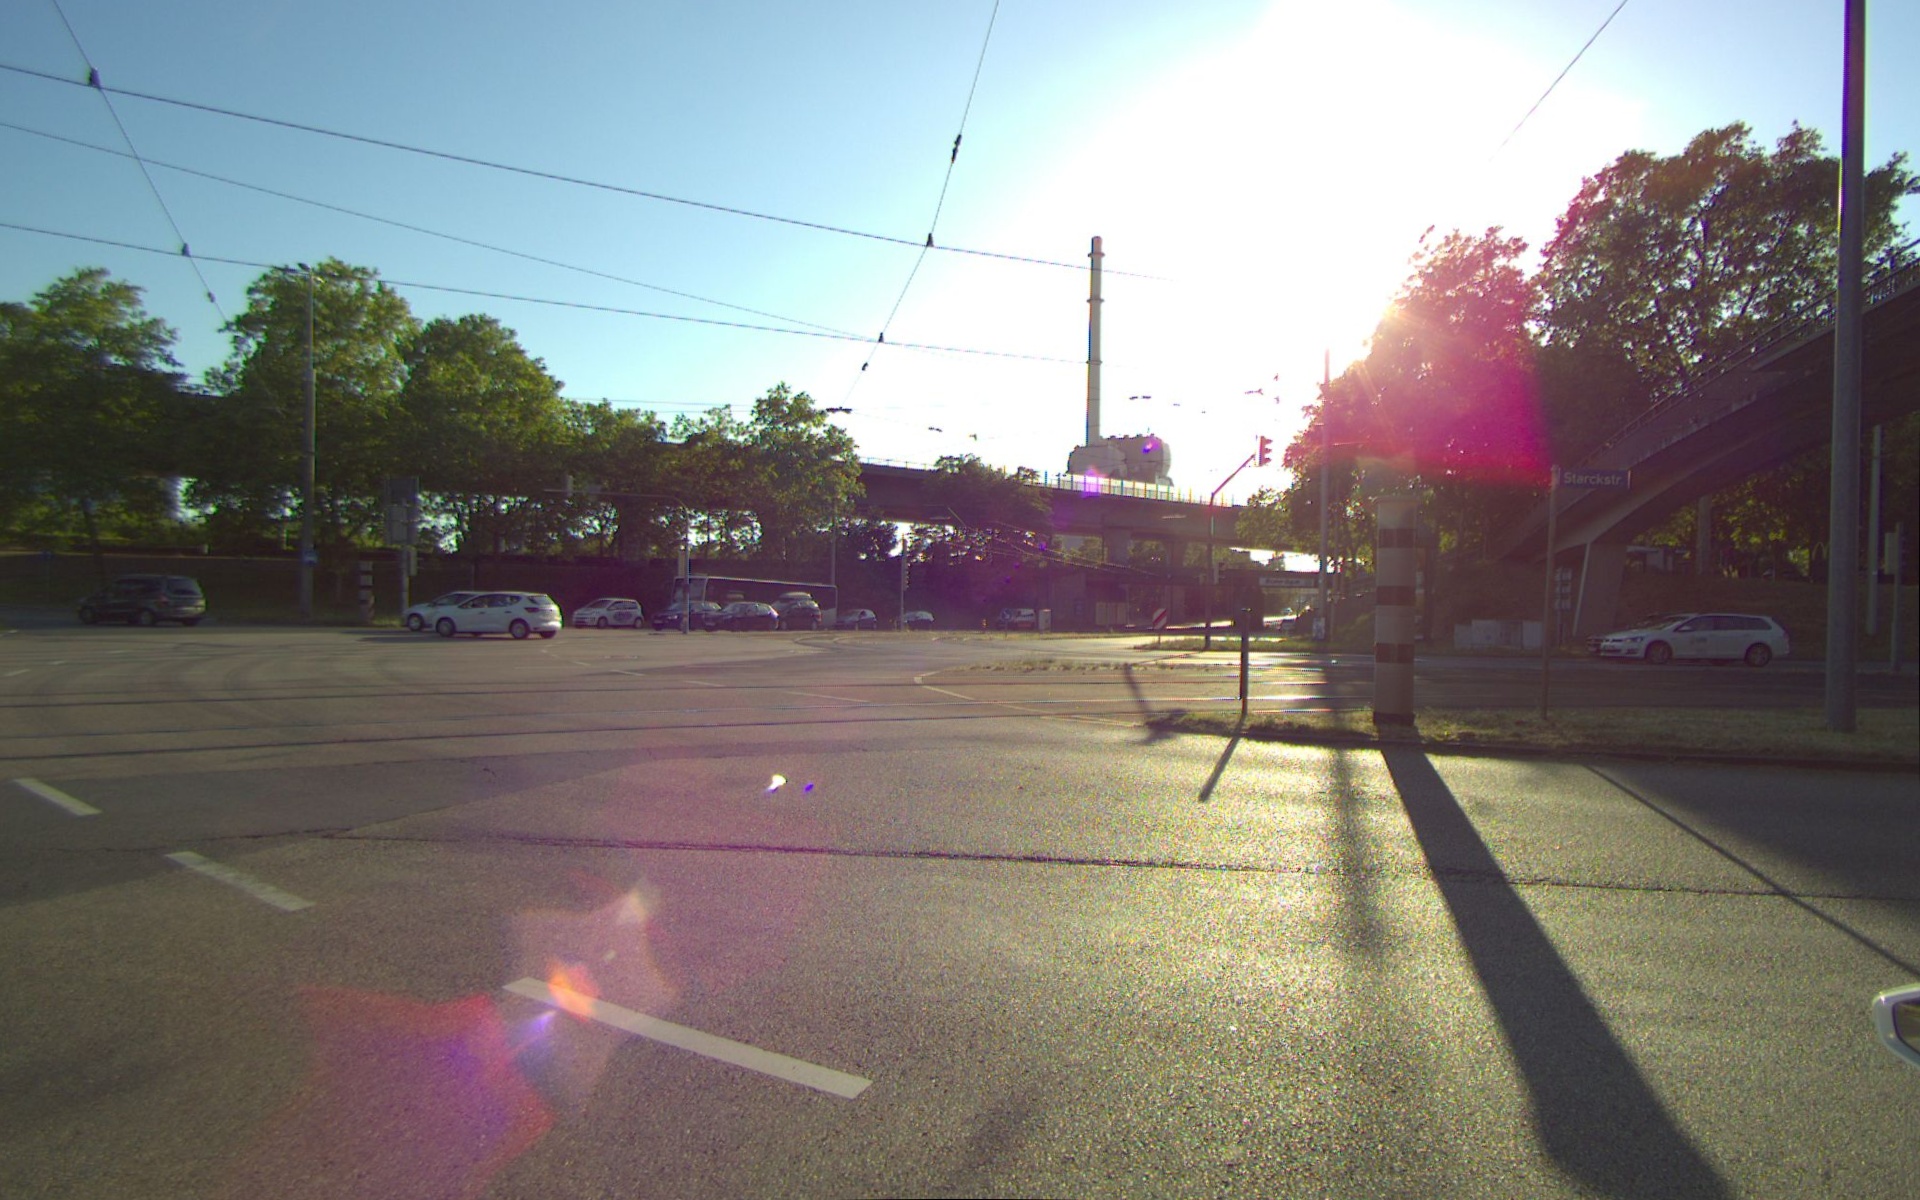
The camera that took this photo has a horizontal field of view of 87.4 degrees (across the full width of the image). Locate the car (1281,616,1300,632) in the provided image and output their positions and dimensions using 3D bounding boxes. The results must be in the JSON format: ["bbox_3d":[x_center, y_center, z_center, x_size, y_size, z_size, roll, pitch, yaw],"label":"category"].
[{"bbox_3d":[37.844,2.709,114.944,1.684,1.674,4.216,1,0,24],"label":"car"}]

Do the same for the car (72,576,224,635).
[{"bbox_3d":[-28.162,0.181,34.905,4.062,1.892,1.858,1,0,9],"label":"car"}]

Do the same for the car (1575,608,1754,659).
[{"bbox_3d":[22.171,1.022,31.745,4.167,1.463,2.013,1,1,4],"label":"car"}]

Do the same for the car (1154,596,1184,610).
[{"bbox_3d":[30.343,0.476,145.669,3.958,1.795,1.981,2,0,-34],"label":"car"}]

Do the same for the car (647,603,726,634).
[{"bbox_3d":[-13.095,0.889,48.309,1.578,1.372,3.998,1,0,22],"label":"car"}]

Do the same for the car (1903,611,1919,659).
[{"bbox_3d":[35.906,1.263,34.937,4.268,1.673,1.797,1,0,8],"label":"car"}]

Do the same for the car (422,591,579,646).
[{"bbox_3d":[-14.842,0.583,32.565,4.221,1.630,1.858,1,0,6],"label":"car"}]

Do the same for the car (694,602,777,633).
[{"bbox_3d":[-10.559,0.803,47.601,1.684,1.372,4.092,1,0,25],"label":"car"}]

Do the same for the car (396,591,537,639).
[{"bbox_3d":[-17.985,0.533,36.693,4.282,1.630,1.858,1,0,6],"label":"car"}]

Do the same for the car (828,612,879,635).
[{"bbox_3d":[-7.337,1.619,69.400,1.673,1.461,3.997,2,0,25],"label":"car"}]

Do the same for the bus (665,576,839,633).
[{"bbox_3d":[-11.936,0.314,59.731,2.778,2.994,12.839,1,0,26],"label":"bus"}]

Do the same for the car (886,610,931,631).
[{"bbox_3d":[-3.842,1.494,75.237,1.673,1.461,3.997,2,0,25],"label":"car"}]

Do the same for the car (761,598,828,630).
[{"bbox_3d":[-9.232,0.795,56.457,1.684,1.674,4.092,1,0,25],"label":"car"}]

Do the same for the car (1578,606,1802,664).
[{"bbox_3d":[20.493,0.948,28.374,4.762,1.463,2.013,1,1,4],"label":"car"}]

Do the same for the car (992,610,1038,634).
[{"bbox_3d":[4.955,1.918,89.979,1.964,2.040,5.415,1,0,29],"label":"car"}]

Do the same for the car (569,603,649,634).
[{"bbox_3d":[-17.017,0.885,48.865,1.578,1.372,3.733,1,0,22],"label":"car"}]
